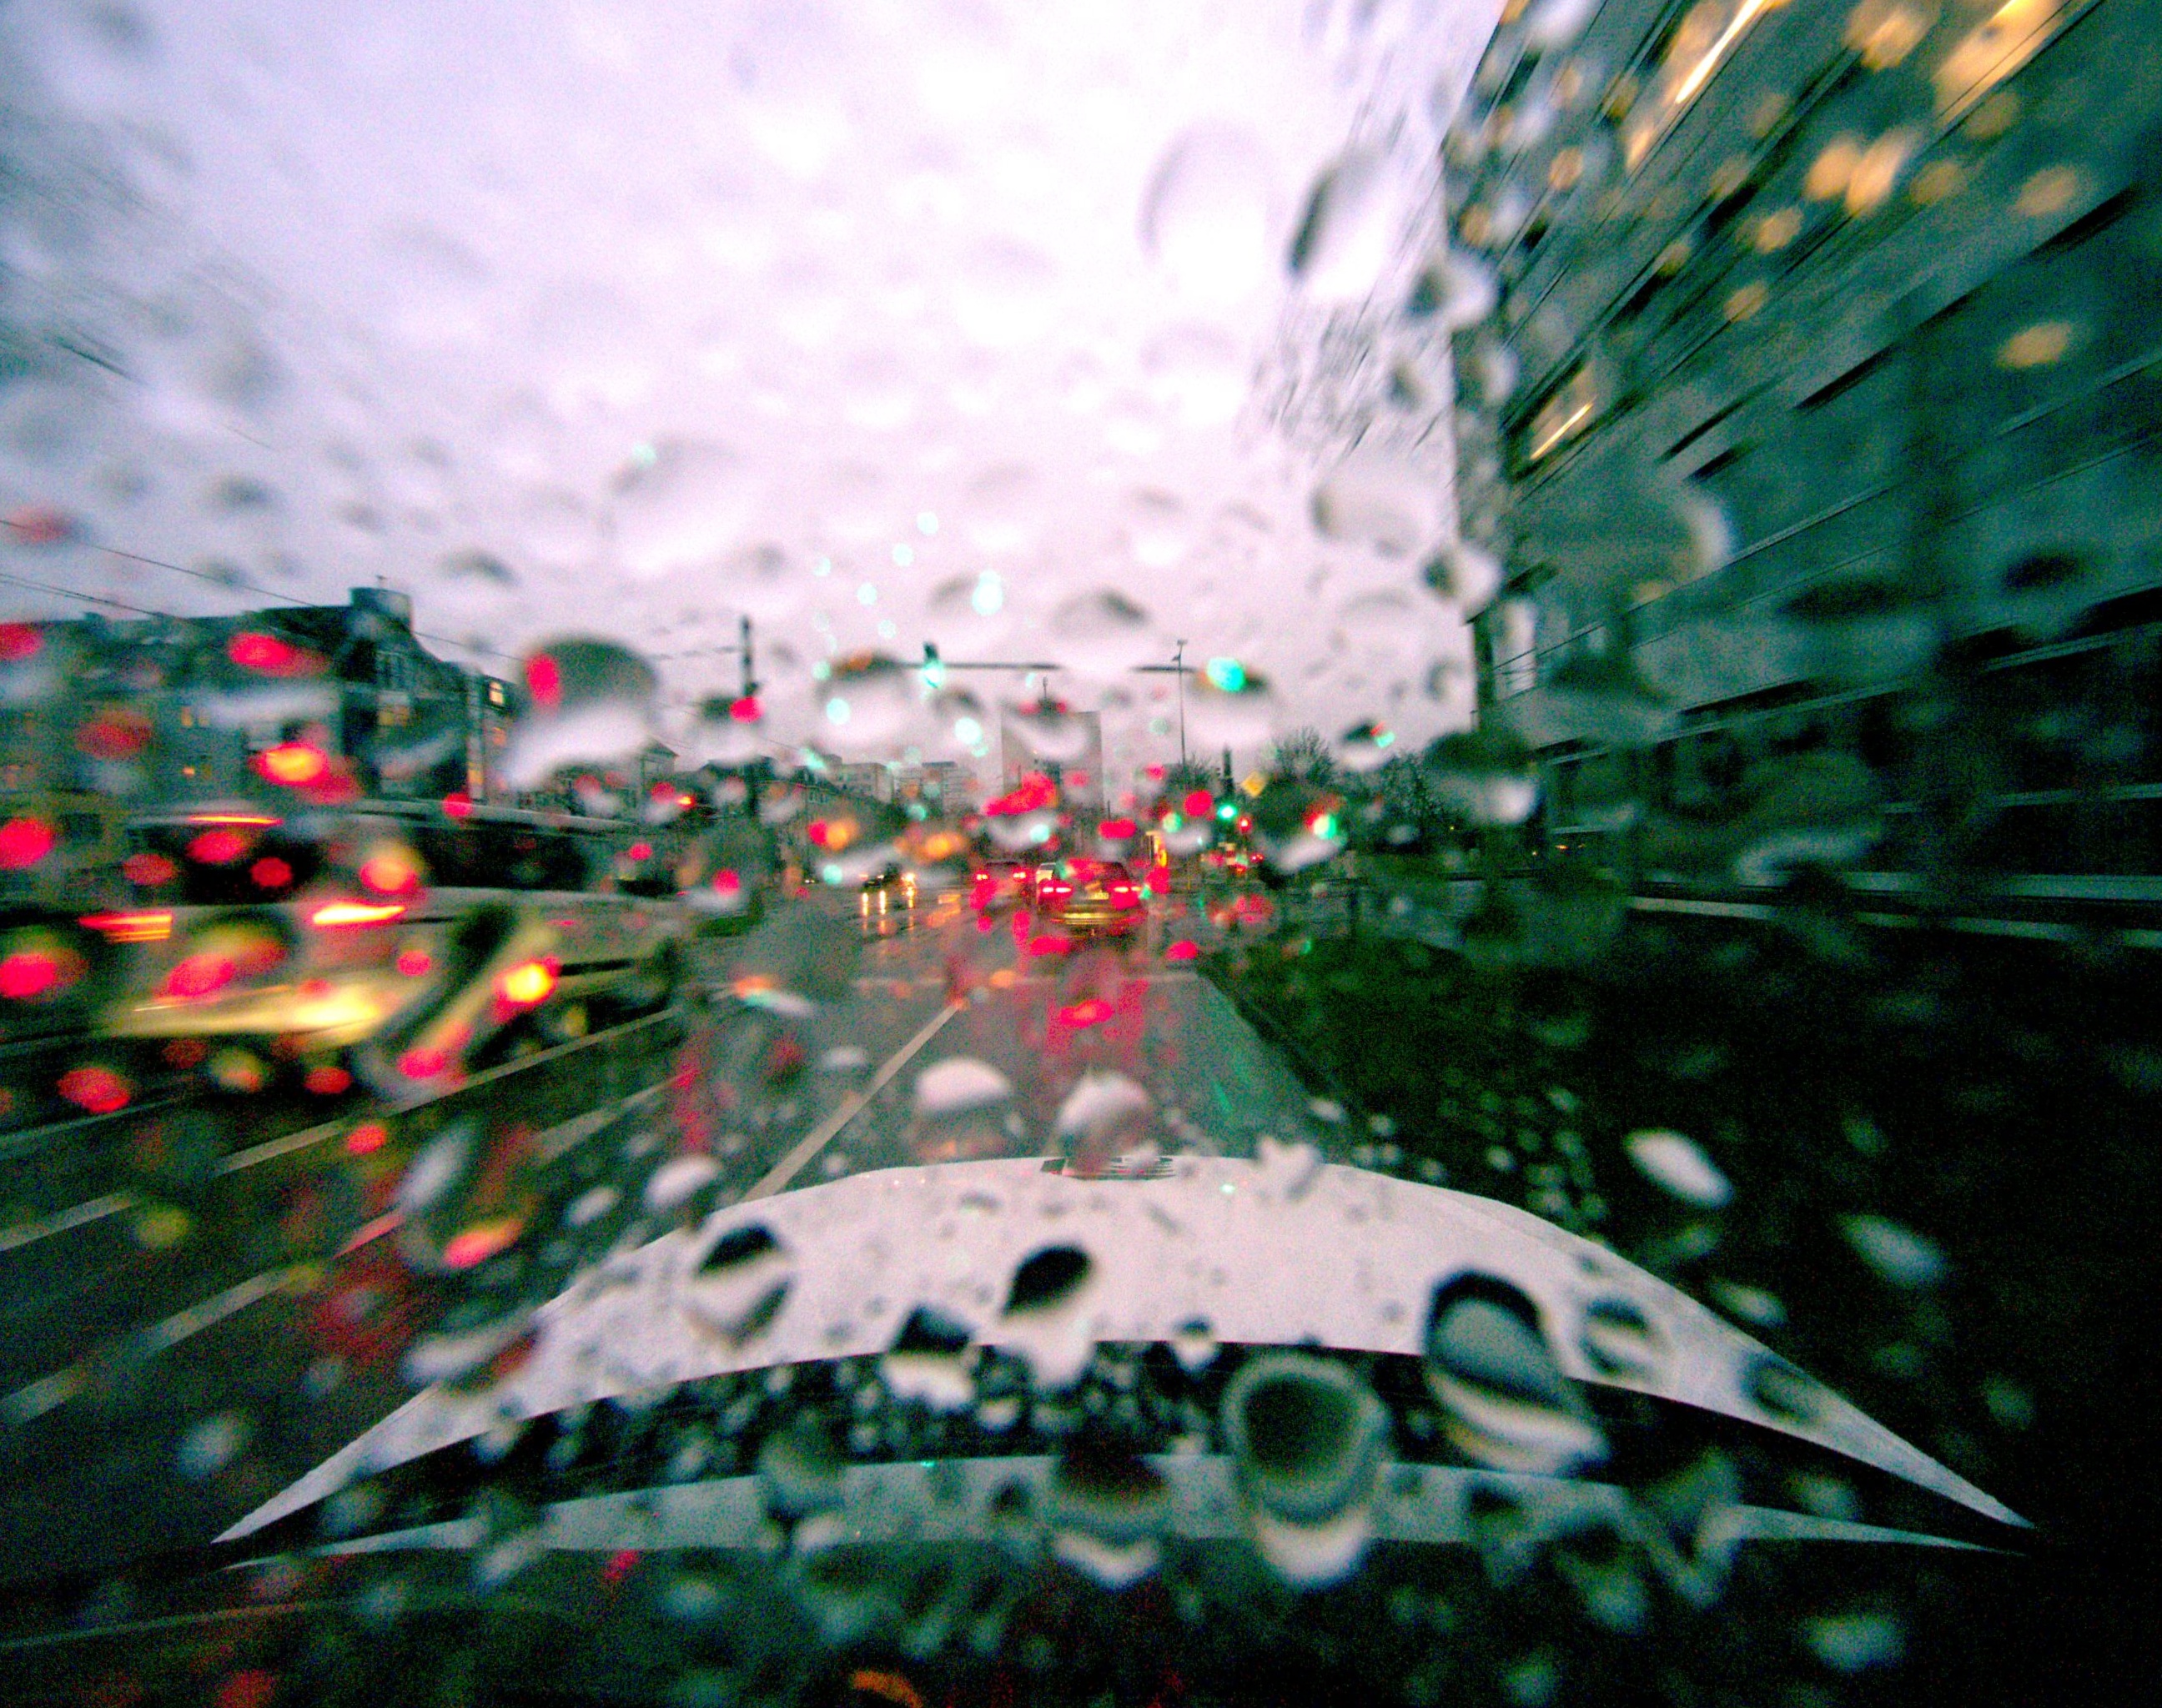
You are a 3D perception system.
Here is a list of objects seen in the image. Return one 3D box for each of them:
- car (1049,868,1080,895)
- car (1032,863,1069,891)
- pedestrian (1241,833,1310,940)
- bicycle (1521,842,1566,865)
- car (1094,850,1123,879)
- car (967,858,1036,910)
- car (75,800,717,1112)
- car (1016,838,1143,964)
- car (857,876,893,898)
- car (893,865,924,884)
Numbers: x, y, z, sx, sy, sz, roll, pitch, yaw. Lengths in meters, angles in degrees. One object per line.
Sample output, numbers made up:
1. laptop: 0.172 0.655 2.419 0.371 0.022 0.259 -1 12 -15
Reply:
1. car: -1.278 2.157 64.678 1.984 2.014 4.004 -1 -2 4
2. car: -1.818 1.391 49.665 1.986 1.642 4.023 -1 -2 2
3. pedestrian: 3.446 0.564 14.384 0.788 1.750 0.867 -7 -1 28
4. bicycle: 26.424 -0.026 46.537 1.958 1.216 1.039 -3 0 -3
5. car: 1.947 0.760 56.281 1.849 1.892 4.003 -1 -2 3
6. car: -2.767 1.071 29.403 1.987 1.712 4.324 -1 -2 1
7. car: -5.701 0.708 7.904 1.945 2.033 4.885 -2 -1 2
8. car: -0.014 0.798 14.973 1.987 1.976 4.067 -1 -2 0
9. car: -16.002 2.557 63.458 1.799 1.607 3.999 -1 -2 0
10. car: -14.766 1.759 69.867 1.582 1.529 4.934 -1 -2 1
